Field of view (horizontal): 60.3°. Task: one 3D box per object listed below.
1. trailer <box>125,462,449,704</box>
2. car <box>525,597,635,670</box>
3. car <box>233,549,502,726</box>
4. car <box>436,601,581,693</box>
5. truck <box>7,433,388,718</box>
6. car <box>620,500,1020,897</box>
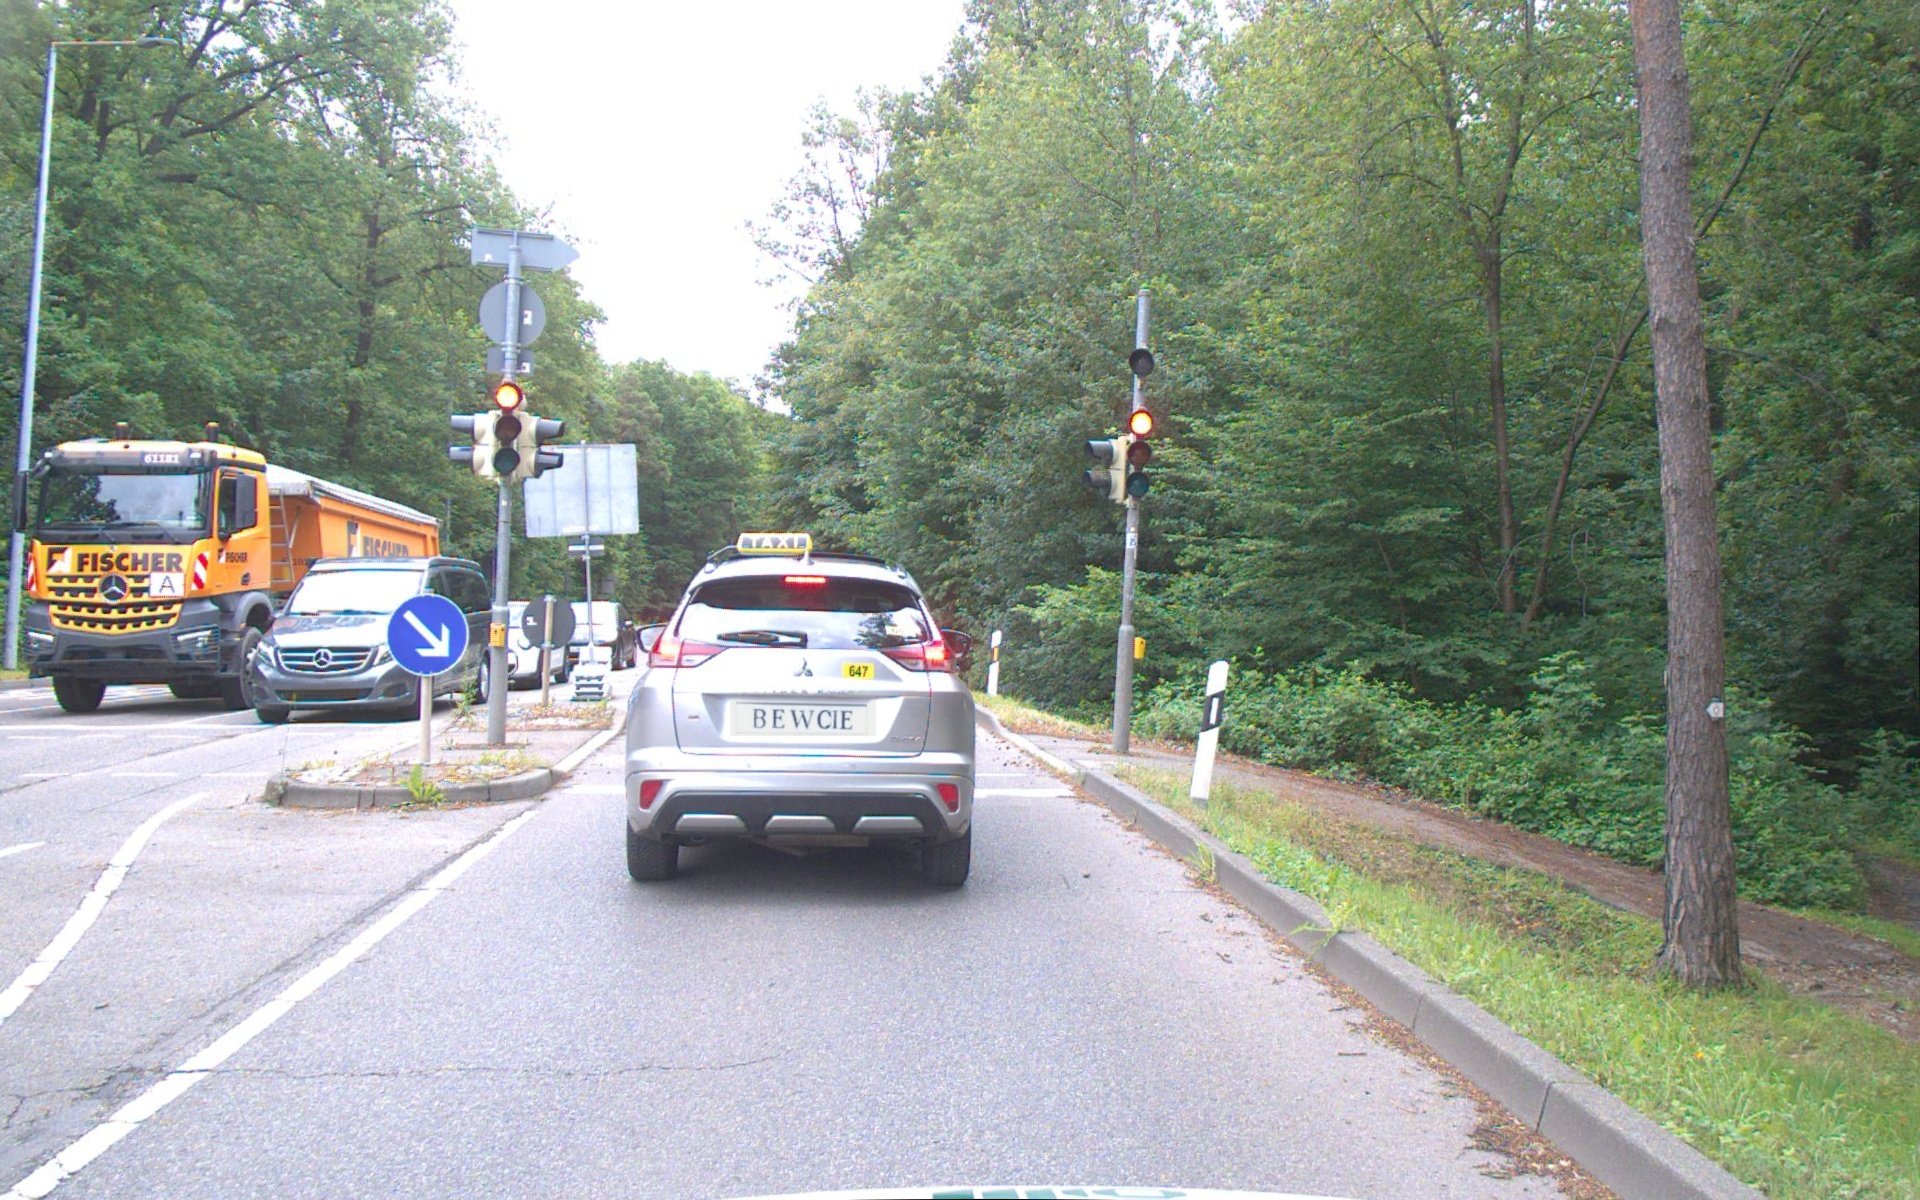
[{"bbox_3d":[-10.750,-0.187,27.485,2.686,3.376,8.557,0,-1,-6],"label":"trailer"},{"bbox_3d":[-8.526,0.727,37.387,1.775,1.534,3.719,-1,0,-3],"label":"car"},{"bbox_3d":[-7.213,0.430,20.699,1.954,1.927,4.834,-1,0,-5],"label":"car"},{"bbox_3d":[-7.525,0.738,27.851,1.580,1.344,3.719,-1,1,-3],"label":"car"},{"bbox_3d":[-10.314,-0.246,23.304,2.686,3.376,7.150,0,-1,-6],"label":"truck"},{"bbox_3d":[-0.830,0.438,9.646,1.811,1.811,3.995,1,1,-6],"label":"car"}]
